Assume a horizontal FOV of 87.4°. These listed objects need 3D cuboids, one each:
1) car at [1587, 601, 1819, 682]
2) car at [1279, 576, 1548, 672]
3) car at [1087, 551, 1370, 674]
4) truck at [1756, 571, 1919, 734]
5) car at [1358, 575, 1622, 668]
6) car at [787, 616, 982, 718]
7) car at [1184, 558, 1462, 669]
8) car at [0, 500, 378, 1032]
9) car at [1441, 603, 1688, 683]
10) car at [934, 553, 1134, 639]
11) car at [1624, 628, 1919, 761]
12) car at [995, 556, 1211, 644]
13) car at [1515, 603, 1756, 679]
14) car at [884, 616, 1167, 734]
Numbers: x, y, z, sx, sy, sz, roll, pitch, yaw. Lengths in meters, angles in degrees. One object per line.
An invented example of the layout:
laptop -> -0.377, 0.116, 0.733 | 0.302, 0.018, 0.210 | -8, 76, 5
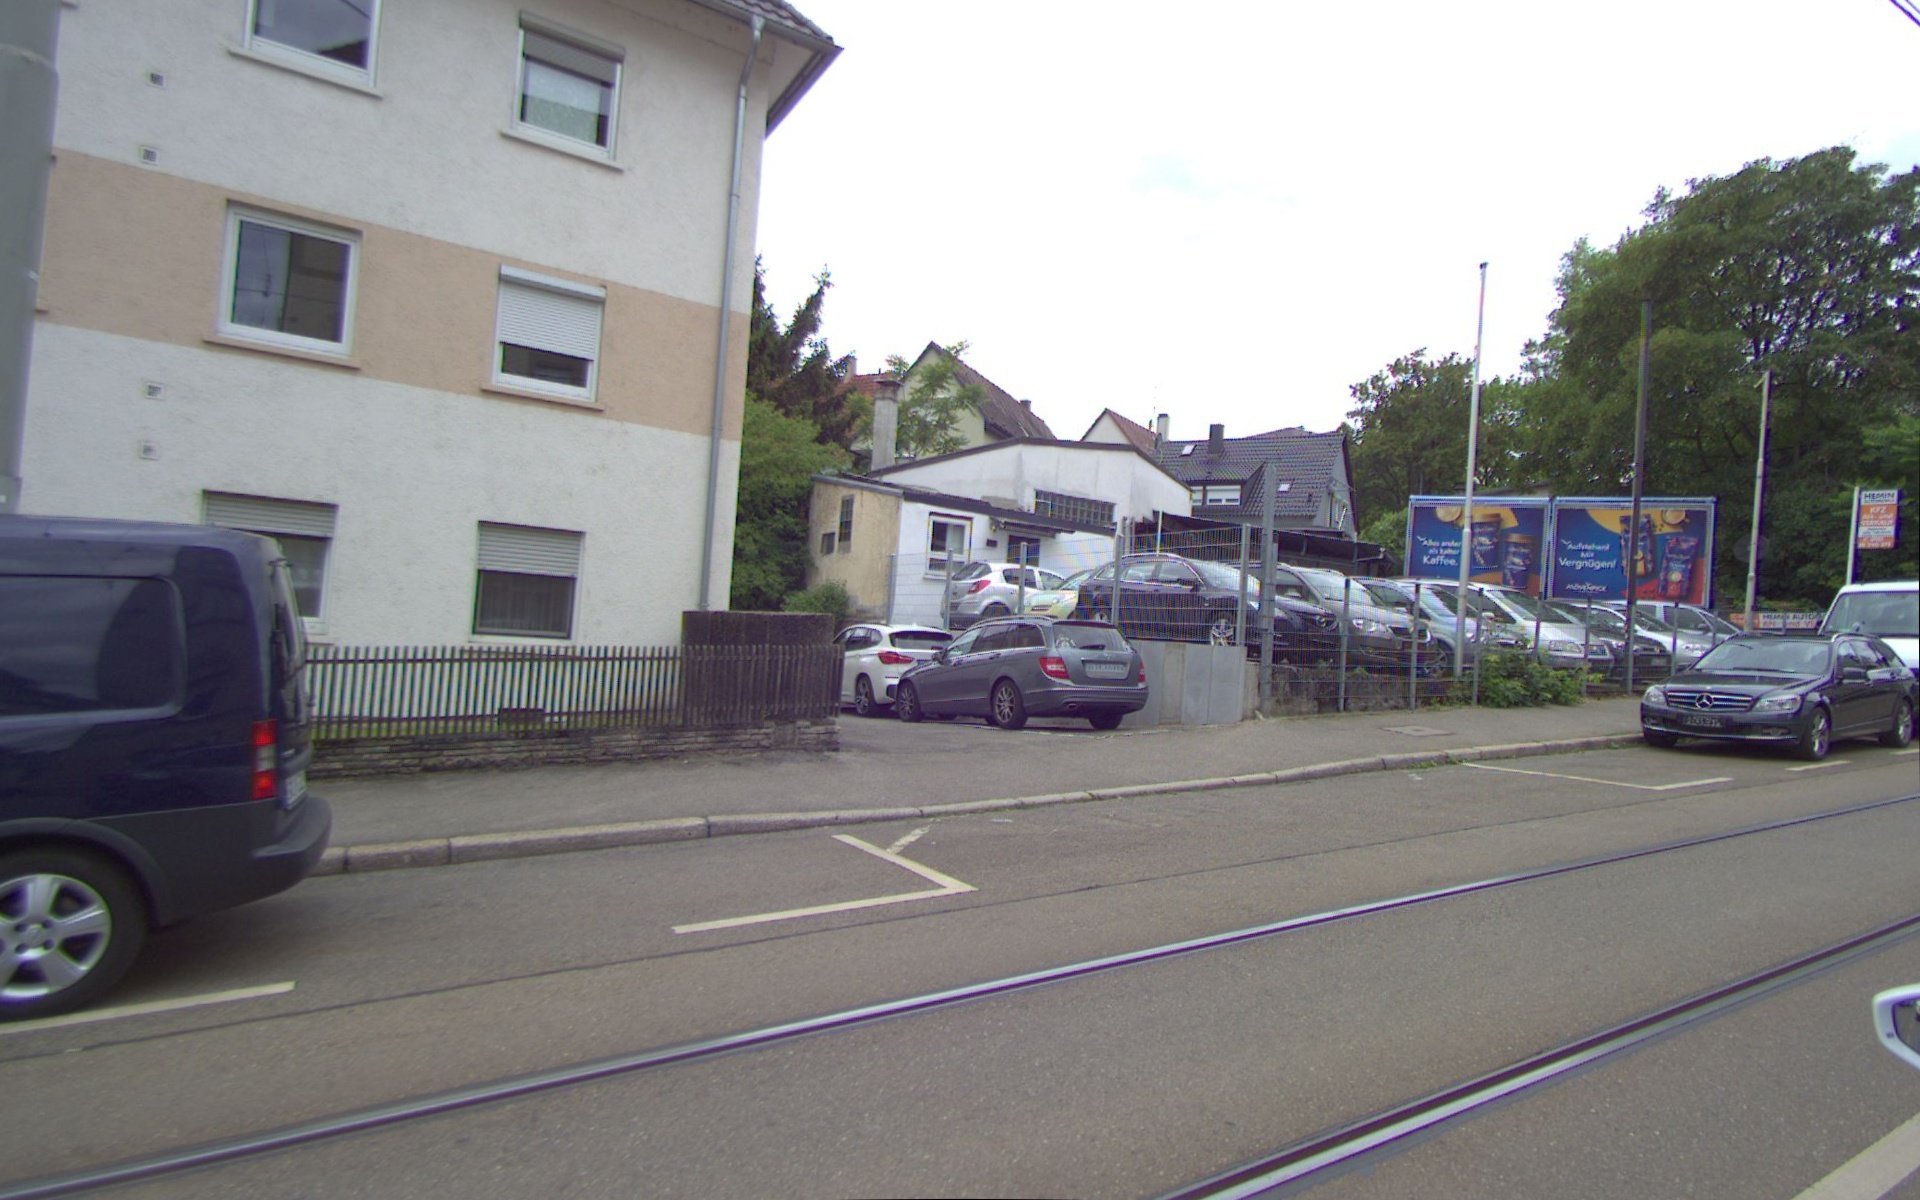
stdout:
car -> 16.417, 0.853, 22.324 | 1.677, 1.572, 3.920 | 1, 0, -44
car -> 7.726, 0.357, 17.504 | 1.668, 1.464, 4.040 | 1, 0, -30
car -> 3.815, 0.106, 14.966 | 1.668, 1.573, 4.039 | 1, 1, -30
truck -> 16.174, 0.803, 16.350 | 7.929, 2.217, 2.270 | 2, 0, -30
car -> 9.628, 0.353, 18.573 | 1.668, 1.514, 4.040 | 1, 0, -30
car -> -1.511, 1.265, 18.359 | 1.840, 1.604, 4.319 | 4, -6, -30
car -> 5.667, 0.186, 16.165 | 1.719, 1.544, 4.040 | 1, 0, -30
car -> -4.655, 0.544, 3.498 | 4.464, 1.758, 1.736 | 1, -2, -29
car -> 11.805, 0.783, 19.874 | 1.668, 1.375, 3.857 | 1, 0, -30
car -> 1.560, -0.054, 20.879 | 3.842, 1.635, 1.675 | 1, 0, -30
car -> 10.528, 1.108, 12.899 | 4.432, 1.452, 1.688 | 2, -2, -32
car -> 2.739, 0.031, 19.042 | 3.842, 1.514, 1.675 | 1, 0, -30
car -> 14.043, 0.797, 21.099 | 1.668, 1.375, 3.857 | 1, 0, -30
car -> 0.709, 1.030, 13.988 | 1.839, 1.363, 4.319 | 1, -5, -30
